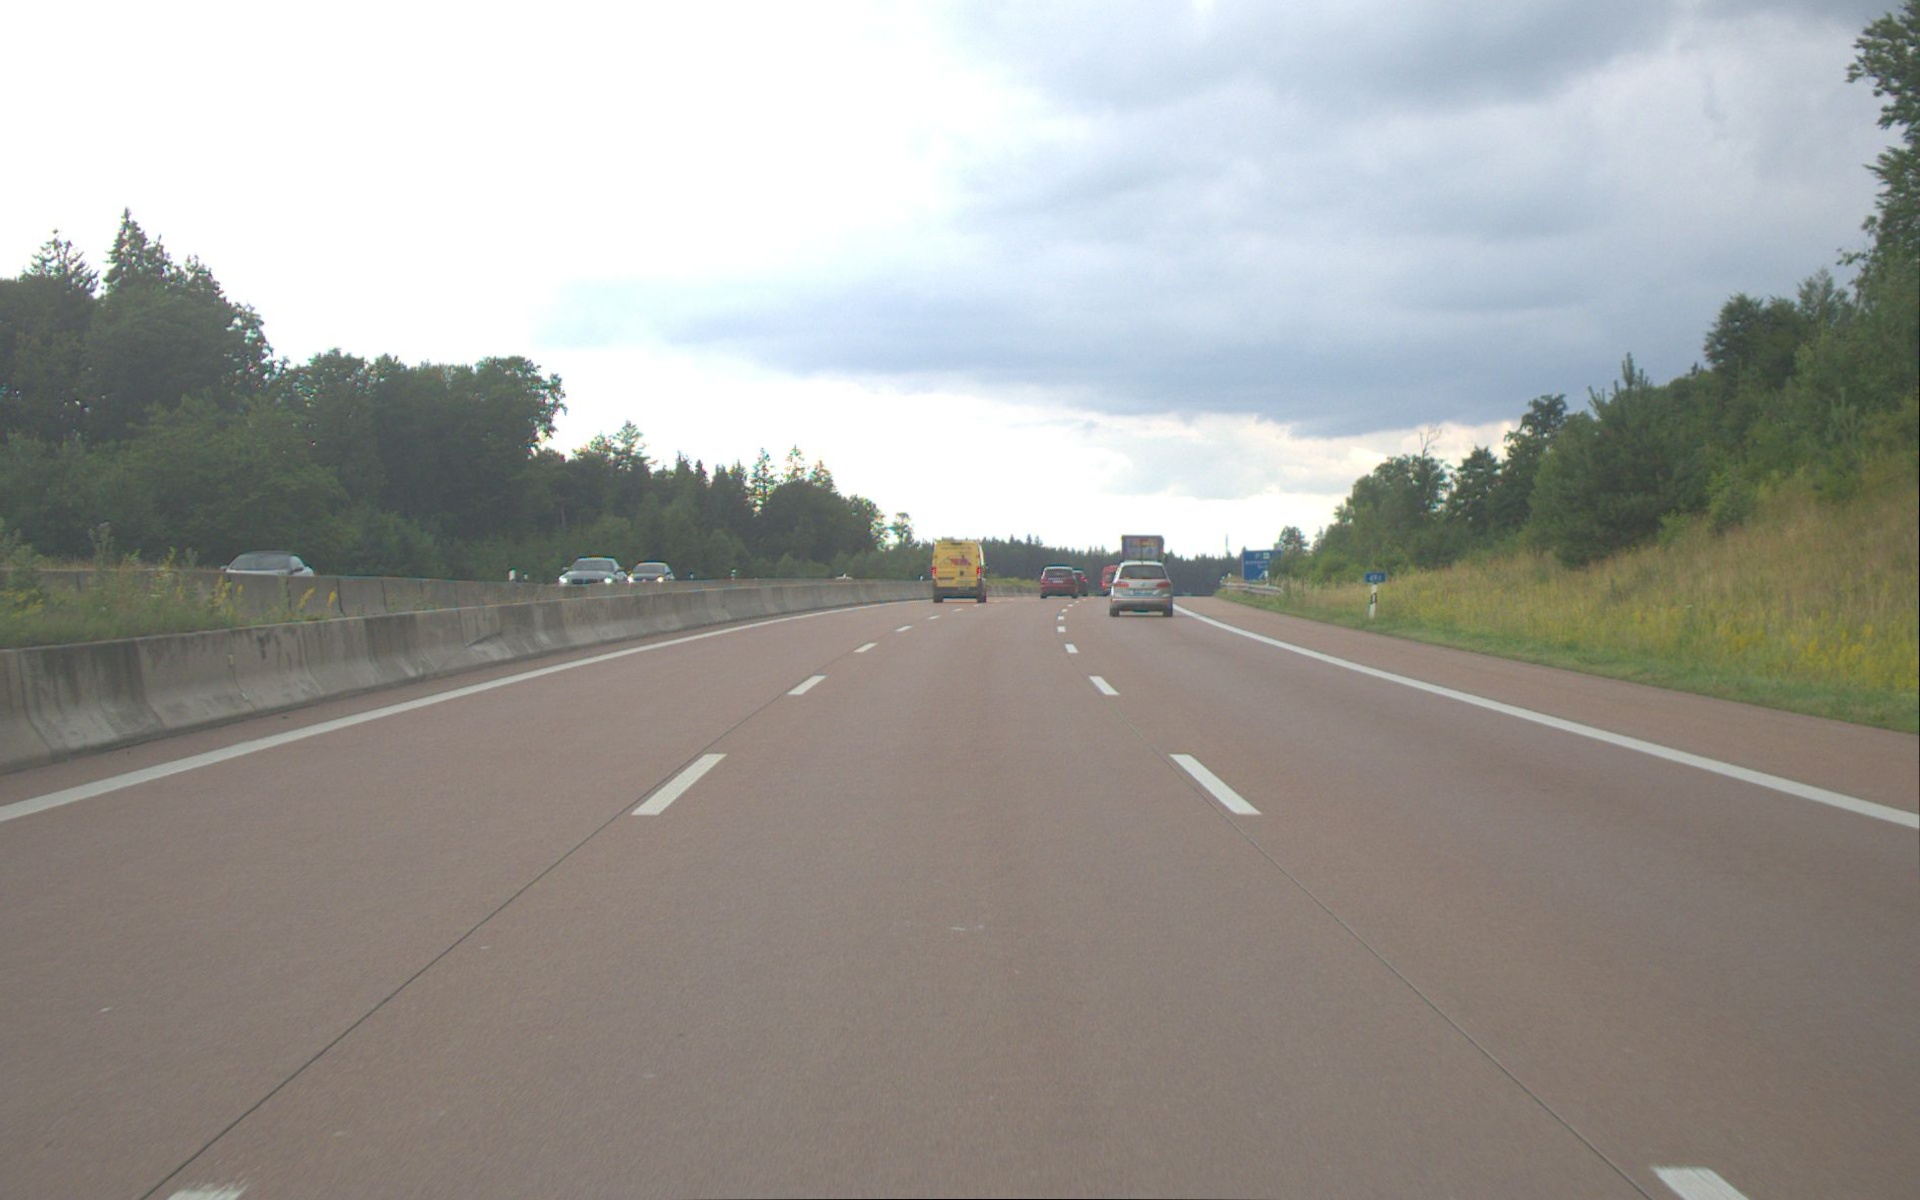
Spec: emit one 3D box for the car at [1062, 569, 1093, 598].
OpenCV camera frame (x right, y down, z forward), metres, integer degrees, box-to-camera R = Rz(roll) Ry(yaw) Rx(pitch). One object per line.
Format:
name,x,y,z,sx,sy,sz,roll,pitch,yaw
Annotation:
car,7.333,-1.022,213.747,1.887,1.758,4.997,0,0,2

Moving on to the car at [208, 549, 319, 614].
car,-17.064,-0.426,84.385,1.732,1.520,4.412,1,0,1

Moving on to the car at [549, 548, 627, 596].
car,-12.487,-0.913,115.533,1.733,1.520,4.243,1,0,6

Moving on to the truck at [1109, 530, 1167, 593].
truck,11.888,-2.544,230.130,3.681,3.899,12.815,1,0,3

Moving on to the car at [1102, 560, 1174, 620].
car,5.113,-0.303,98.318,1.978,1.642,4.618,1,1,3

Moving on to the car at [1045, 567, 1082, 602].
car,5.378,-0.794,178.142,1.887,1.758,4.782,0,0,2

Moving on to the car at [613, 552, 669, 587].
car,-14.514,-1.363,156.511,1.930,1.483,4.423,1,0,3

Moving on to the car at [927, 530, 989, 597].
car,-0.061,-1.498,143.088,2.458,2.697,5.613,0,0,1
